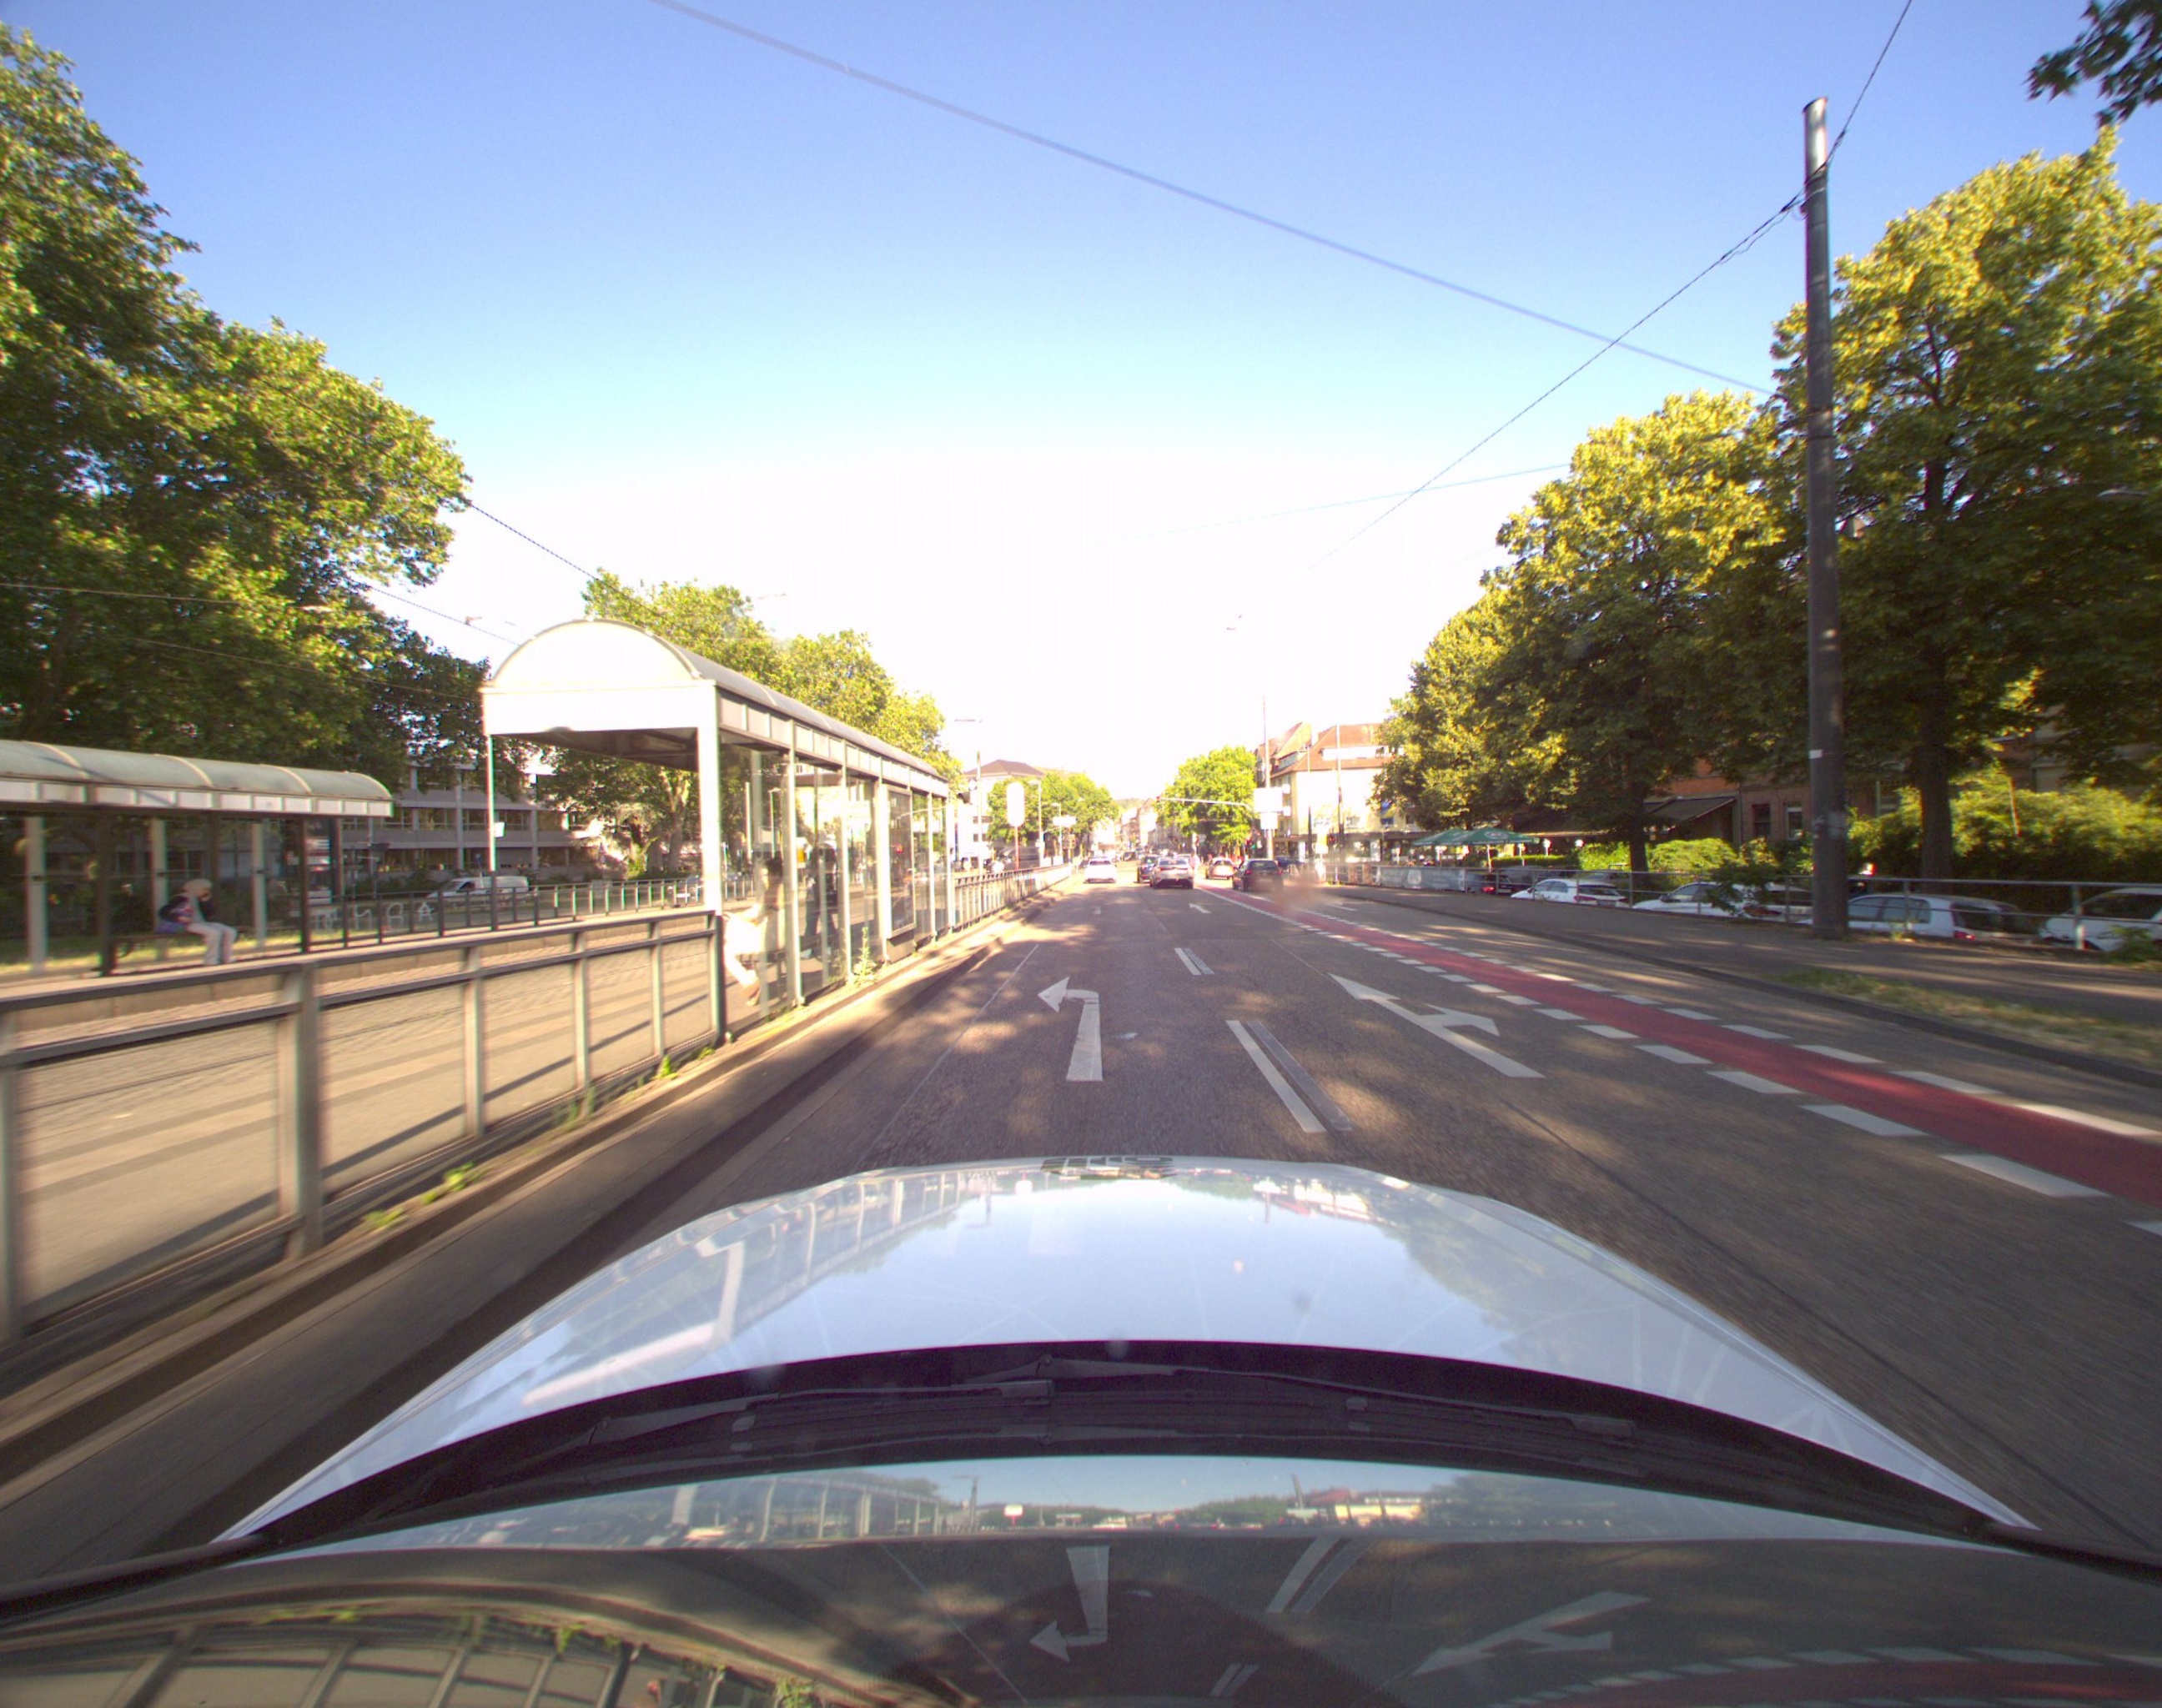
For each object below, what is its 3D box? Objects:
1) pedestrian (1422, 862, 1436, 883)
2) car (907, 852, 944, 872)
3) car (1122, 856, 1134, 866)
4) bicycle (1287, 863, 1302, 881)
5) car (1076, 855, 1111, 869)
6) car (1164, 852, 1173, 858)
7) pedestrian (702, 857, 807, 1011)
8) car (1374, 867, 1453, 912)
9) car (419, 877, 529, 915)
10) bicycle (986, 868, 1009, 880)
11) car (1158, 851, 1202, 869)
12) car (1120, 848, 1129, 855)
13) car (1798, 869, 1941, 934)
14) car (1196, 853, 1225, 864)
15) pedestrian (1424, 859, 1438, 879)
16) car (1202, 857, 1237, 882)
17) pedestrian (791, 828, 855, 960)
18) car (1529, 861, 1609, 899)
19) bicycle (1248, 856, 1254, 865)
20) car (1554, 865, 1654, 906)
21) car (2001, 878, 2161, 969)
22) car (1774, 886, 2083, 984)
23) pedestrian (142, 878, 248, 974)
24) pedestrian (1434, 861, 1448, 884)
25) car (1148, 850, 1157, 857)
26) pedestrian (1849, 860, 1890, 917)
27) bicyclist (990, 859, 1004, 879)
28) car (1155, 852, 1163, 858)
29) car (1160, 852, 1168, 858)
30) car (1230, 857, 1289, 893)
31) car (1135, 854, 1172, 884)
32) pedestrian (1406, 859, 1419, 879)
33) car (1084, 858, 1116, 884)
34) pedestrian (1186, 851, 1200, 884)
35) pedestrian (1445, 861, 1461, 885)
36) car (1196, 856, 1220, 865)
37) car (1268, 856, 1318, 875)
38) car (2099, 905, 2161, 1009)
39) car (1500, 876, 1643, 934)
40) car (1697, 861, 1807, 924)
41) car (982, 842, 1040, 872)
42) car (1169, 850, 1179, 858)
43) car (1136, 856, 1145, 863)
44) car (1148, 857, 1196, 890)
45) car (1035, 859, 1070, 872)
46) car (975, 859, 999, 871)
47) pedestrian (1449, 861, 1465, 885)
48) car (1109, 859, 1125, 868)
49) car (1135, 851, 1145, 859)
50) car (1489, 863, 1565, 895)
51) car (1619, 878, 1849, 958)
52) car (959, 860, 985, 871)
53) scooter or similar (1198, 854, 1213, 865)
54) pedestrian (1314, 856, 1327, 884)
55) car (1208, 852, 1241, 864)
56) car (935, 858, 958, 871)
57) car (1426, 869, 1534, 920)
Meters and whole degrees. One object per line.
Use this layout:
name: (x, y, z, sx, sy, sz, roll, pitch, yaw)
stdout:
pedestrian: (22.268, 1.182, 52.125, 0.645, 1.338, 0.632, 1, -1, 2)
car: (-25.113, 1.244, 131.865, 2.473, 3.165, 6.572, -2, 0, 24)
car: (9.092, 1.361, 156.758, 1.782, 1.826, 4.013, -2, 0, 12)
bicycle: (13.000, 1.091, 49.570, 0.496, 1.075, 1.800, 0, -1, 2)
car: (1.453, 0.950, 96.740, 3.949, 1.510, 1.811, -1, -1, 41)
car: (21.478, 0.214, 199.299, 1.788, 1.510, 4.001, -2, 0, 1)
pedestrian: (-2.899, 0.691, 7.285, 0.676, 1.309, 0.593, -1, -1, 2)
car: (15.047, 1.553, 37.119, 1.789, 1.898, 4.358, 0, -1, 0)
car: (-42.036, 2.840, 56.589, 2.131, 2.335, 5.756, -2, 0, 25)
bicycle: (-6.057, 1.433, 58.917, 1.597, 0.816, 0.530, -2, -1, 24)
car: (9.811, 0.612, 81.136, 4.135, 1.692, 1.820, -1, -1, -2)
car: (10.372, -0.545, 194.303, 1.788, 1.510, 4.000, -2, 0, 1)
car: (22.388, 1.275, 23.108, 4.011, 1.513, 1.783, -3, 0, -28)
car: (19.171, 0.664, 120.752, 3.980, 1.510, 1.797, -1, 0, -5)
pedestrian: (23.972, 1.025, 55.770, 0.645, 1.338, 0.632, 1, -1, 2)
car: (9.382, 1.021, 55.532, 1.787, 1.510, 4.002, -1, 1, 1)
pedestrian: (-3.359, 0.513, 10.647, 0.592, 1.678, 0.590, -1, -1, 7)
car: (22.700, 1.180, 37.848, 4.019, 1.480, 1.780, -3, 1, -38)
bicycle: (21.723, 0.781, 104.243, 0.606, 1.107, 1.803, -1, 0, 6)
car: (22.048, 1.273, 34.293, 4.266, 1.406, 1.944, -3, 0, -33)
car: (21.731, 1.351, 16.584, 3.975, 1.513, 1.800, -3, 0, -1)
car: (14.795, 1.341, 14.544, 1.788, 1.441, 3.576, 0, -1, 0)
pedestrian: (-13.190, 1.053, 12.142, 0.667, 1.324, 0.757, -4, -1, 0)
pedestrian: (21.526, 1.123, 48.688, 0.642, 1.338, 0.636, 1, -1, 32)
car: (21.990, -0.203, 249.744, 2.318, 2.013, 4.978, -2, 0, 1)
pedestrian: (24.863, 1.082, 25.686, 0.646, 1.746, 0.631, -1, -1, -3)
bicyclist: (-6.064, 1.058, 58.920, 0.793, 1.414, 0.530, -2, -1, 24)
car: (21.522, 0.318, 224.712, 1.788, 1.522, 4.001, -2, 0, 1)
car: (20.994, 0.242, 205.474, 1.788, 1.510, 4.001, -2, 0, 1)
car: (7.656, 0.867, 35.324, 1.793, 1.439, 4.046, 0, 0, 2)
car: (4.124, 0.840, 46.742, 1.794, 1.638, 4.046, -1, 0, 1)
pedestrian: (23.082, 1.051, 56.757, 0.645, 1.338, 0.632, 1, -1, 2)
car: (1.140, 0.978, 48.529, 1.802, 1.452, 4.001, -1, 0, 1)
pedestrian: (6.463, 0.797, 47.069, 0.654, 1.871, 0.678, -1, -1, 1)
pedestrian: (21.833, 1.103, 47.760, 0.645, 1.338, 0.632, 1, -1, 2)
car: (21.071, 1.067, 134.926, 4.021, 1.510, 1.779, -1, 0, -40)
car: (18.320, 0.970, 70.356, 4.010, 1.510, 1.783, -1, -1, -29)
car: (14.860, 1.314, 9.174, 1.788, 1.309, 3.999, 0, -1, 0)
car: (14.875, 1.490, 25.013, 1.787, 1.579, 4.444, 0, -1, 1)
car: (21.941, 1.199, 26.595, 4.018, 1.735, 1.780, -3, 0, -36)
car: (-6.465, 0.277, 74.892, 5.024, 2.743, 2.063, 0, -1, -16)
car: (21.968, 0.032, 192.758, 2.097, 1.776, 4.342, -2, 0, 1)
car: (13.067, 1.189, 179.496, 1.788, 1.510, 4.000, -2, 0, 1)
car: (4.333, 0.879, 39.428, 1.922, 1.472, 4.856, -1, 0, 2)
car: (-2.652, 1.037, 75.999, 2.908, 1.162, 2.063, 0, -1, -15)
car: (-14.645, 1.683, 126.922, 1.904, 1.649, 4.203, -2, 0, 22)
pedestrian: (21.664, 1.088, 46.933, 0.645, 1.338, 0.632, 1, -1, 2)
car: (6.586, 1.719, 149.370, 1.779, 1.510, 4.020, -2, -1, 20)
car: (12.401, 0.255, 171.320, 1.788, 1.510, 4.000, -2, 0, 1)
car: (22.413, 1.235, 40.873, 4.018, 1.348, 1.760, -3, 1, -36)
car: (14.911, 1.374, 19.001, 1.787, 1.579, 4.554, 0, -1, 1)
car: (-17.067, 1.760, 127.683, 1.777, 1.649, 4.035, -2, 0, 31)
scooter or similar: (15.928, 0.729, 104.456, 1.926, 1.280, 0.557, -2, -1, 43)
pedestrian: (13.394, 0.889, 45.531, 0.642, 1.563, 0.635, 1, -1, 20)
car: (19.447, 0.602, 110.398, 3.983, 1.510, 1.796, -1, 0, -7)
car: (-21.571, 1.733, 130.547, 1.779, 1.956, 4.020, -2, 0, 20)
car: (15.182, 1.491, 31.258, 1.791, 1.803, 4.203, 0, -1, -5)
